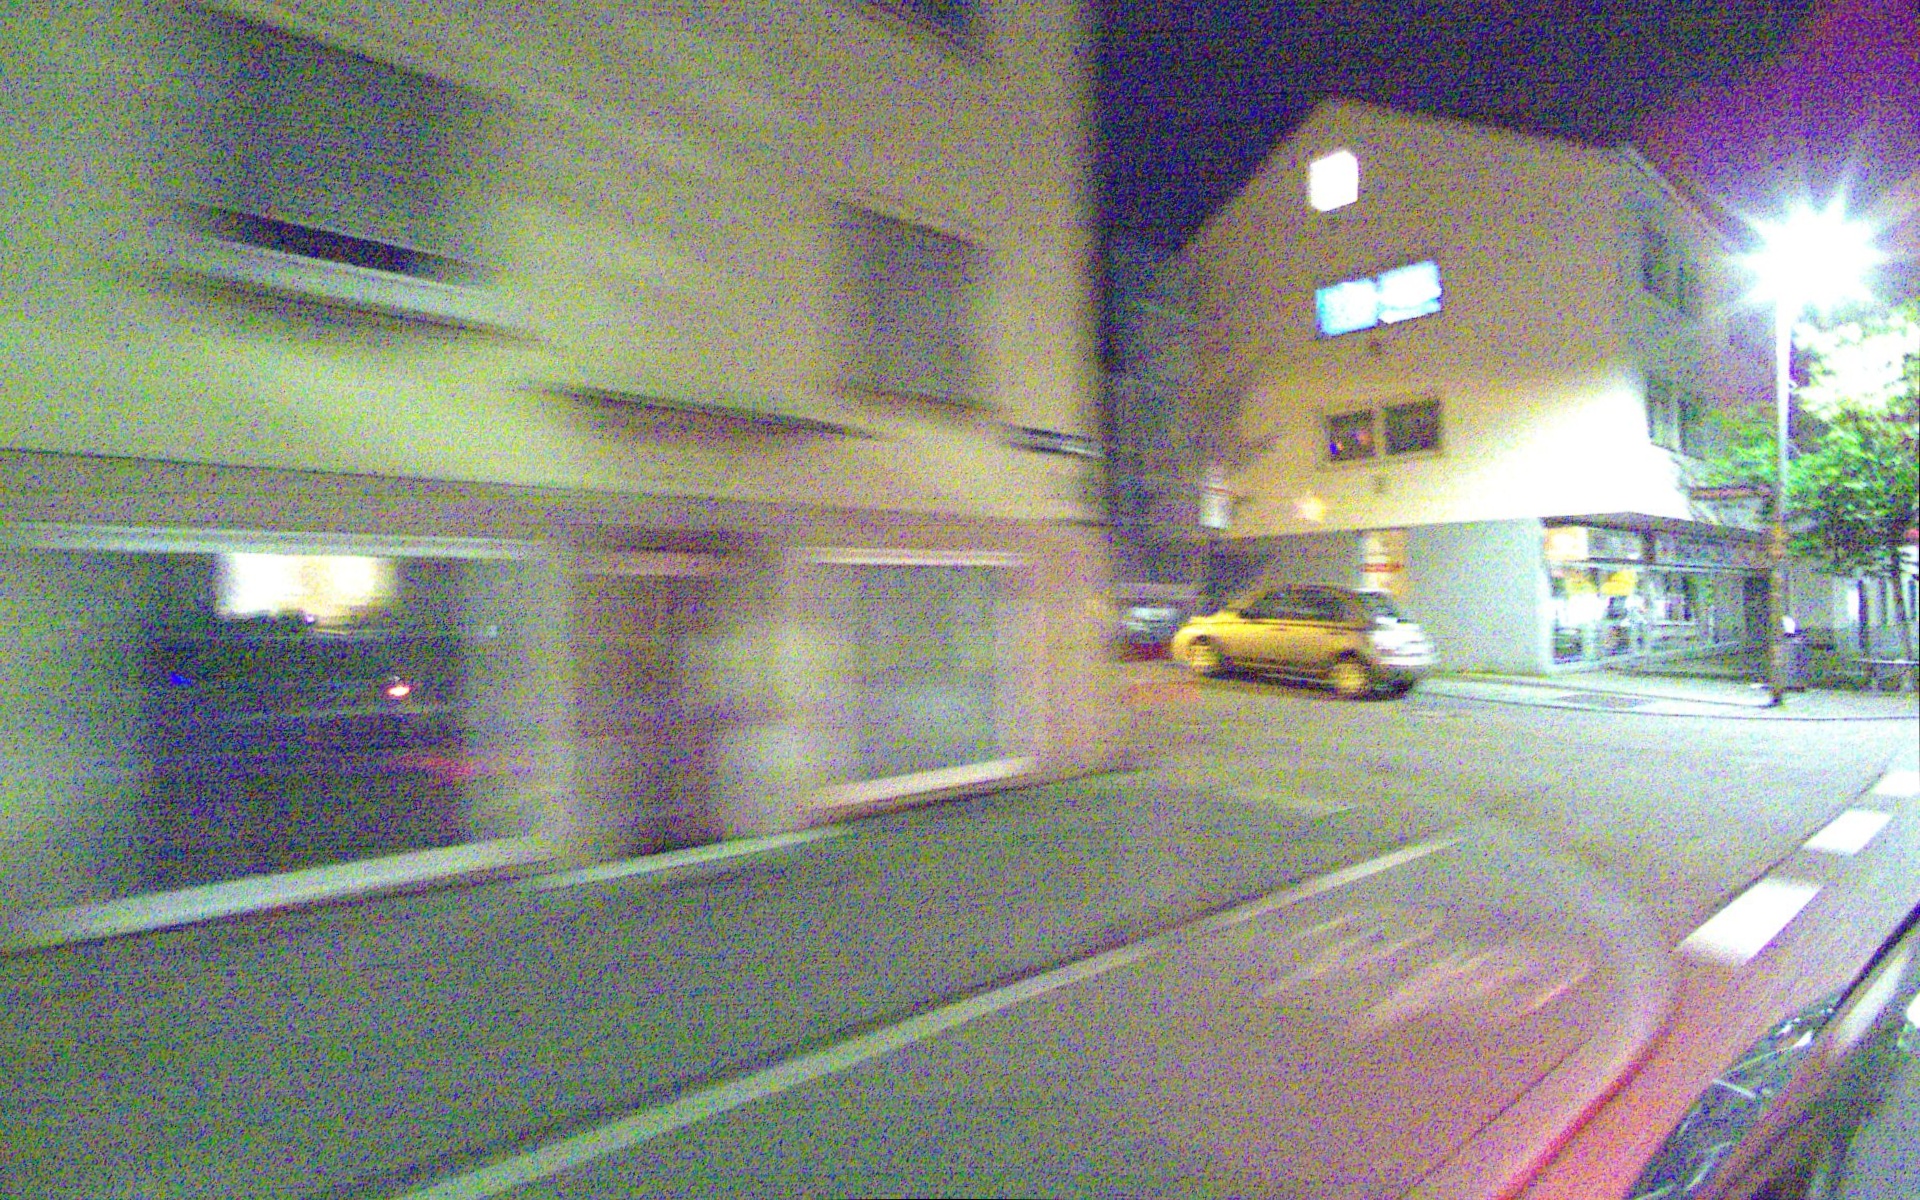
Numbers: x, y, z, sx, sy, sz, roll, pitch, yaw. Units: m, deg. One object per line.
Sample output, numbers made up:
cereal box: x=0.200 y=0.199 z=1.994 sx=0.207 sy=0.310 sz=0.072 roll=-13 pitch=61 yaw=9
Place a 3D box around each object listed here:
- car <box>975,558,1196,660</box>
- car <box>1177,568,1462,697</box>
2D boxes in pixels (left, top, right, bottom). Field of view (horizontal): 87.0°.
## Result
car: x=2.169 y=0.080 z=18.392 sx=1.648 sy=1.514 sz=3.853 roll=-1 pitch=4 yaw=-40
car: x=5.199 y=0.368 z=14.937 sx=1.789 sy=1.543 sz=3.513 roll=0 pitch=3 yaw=-41
